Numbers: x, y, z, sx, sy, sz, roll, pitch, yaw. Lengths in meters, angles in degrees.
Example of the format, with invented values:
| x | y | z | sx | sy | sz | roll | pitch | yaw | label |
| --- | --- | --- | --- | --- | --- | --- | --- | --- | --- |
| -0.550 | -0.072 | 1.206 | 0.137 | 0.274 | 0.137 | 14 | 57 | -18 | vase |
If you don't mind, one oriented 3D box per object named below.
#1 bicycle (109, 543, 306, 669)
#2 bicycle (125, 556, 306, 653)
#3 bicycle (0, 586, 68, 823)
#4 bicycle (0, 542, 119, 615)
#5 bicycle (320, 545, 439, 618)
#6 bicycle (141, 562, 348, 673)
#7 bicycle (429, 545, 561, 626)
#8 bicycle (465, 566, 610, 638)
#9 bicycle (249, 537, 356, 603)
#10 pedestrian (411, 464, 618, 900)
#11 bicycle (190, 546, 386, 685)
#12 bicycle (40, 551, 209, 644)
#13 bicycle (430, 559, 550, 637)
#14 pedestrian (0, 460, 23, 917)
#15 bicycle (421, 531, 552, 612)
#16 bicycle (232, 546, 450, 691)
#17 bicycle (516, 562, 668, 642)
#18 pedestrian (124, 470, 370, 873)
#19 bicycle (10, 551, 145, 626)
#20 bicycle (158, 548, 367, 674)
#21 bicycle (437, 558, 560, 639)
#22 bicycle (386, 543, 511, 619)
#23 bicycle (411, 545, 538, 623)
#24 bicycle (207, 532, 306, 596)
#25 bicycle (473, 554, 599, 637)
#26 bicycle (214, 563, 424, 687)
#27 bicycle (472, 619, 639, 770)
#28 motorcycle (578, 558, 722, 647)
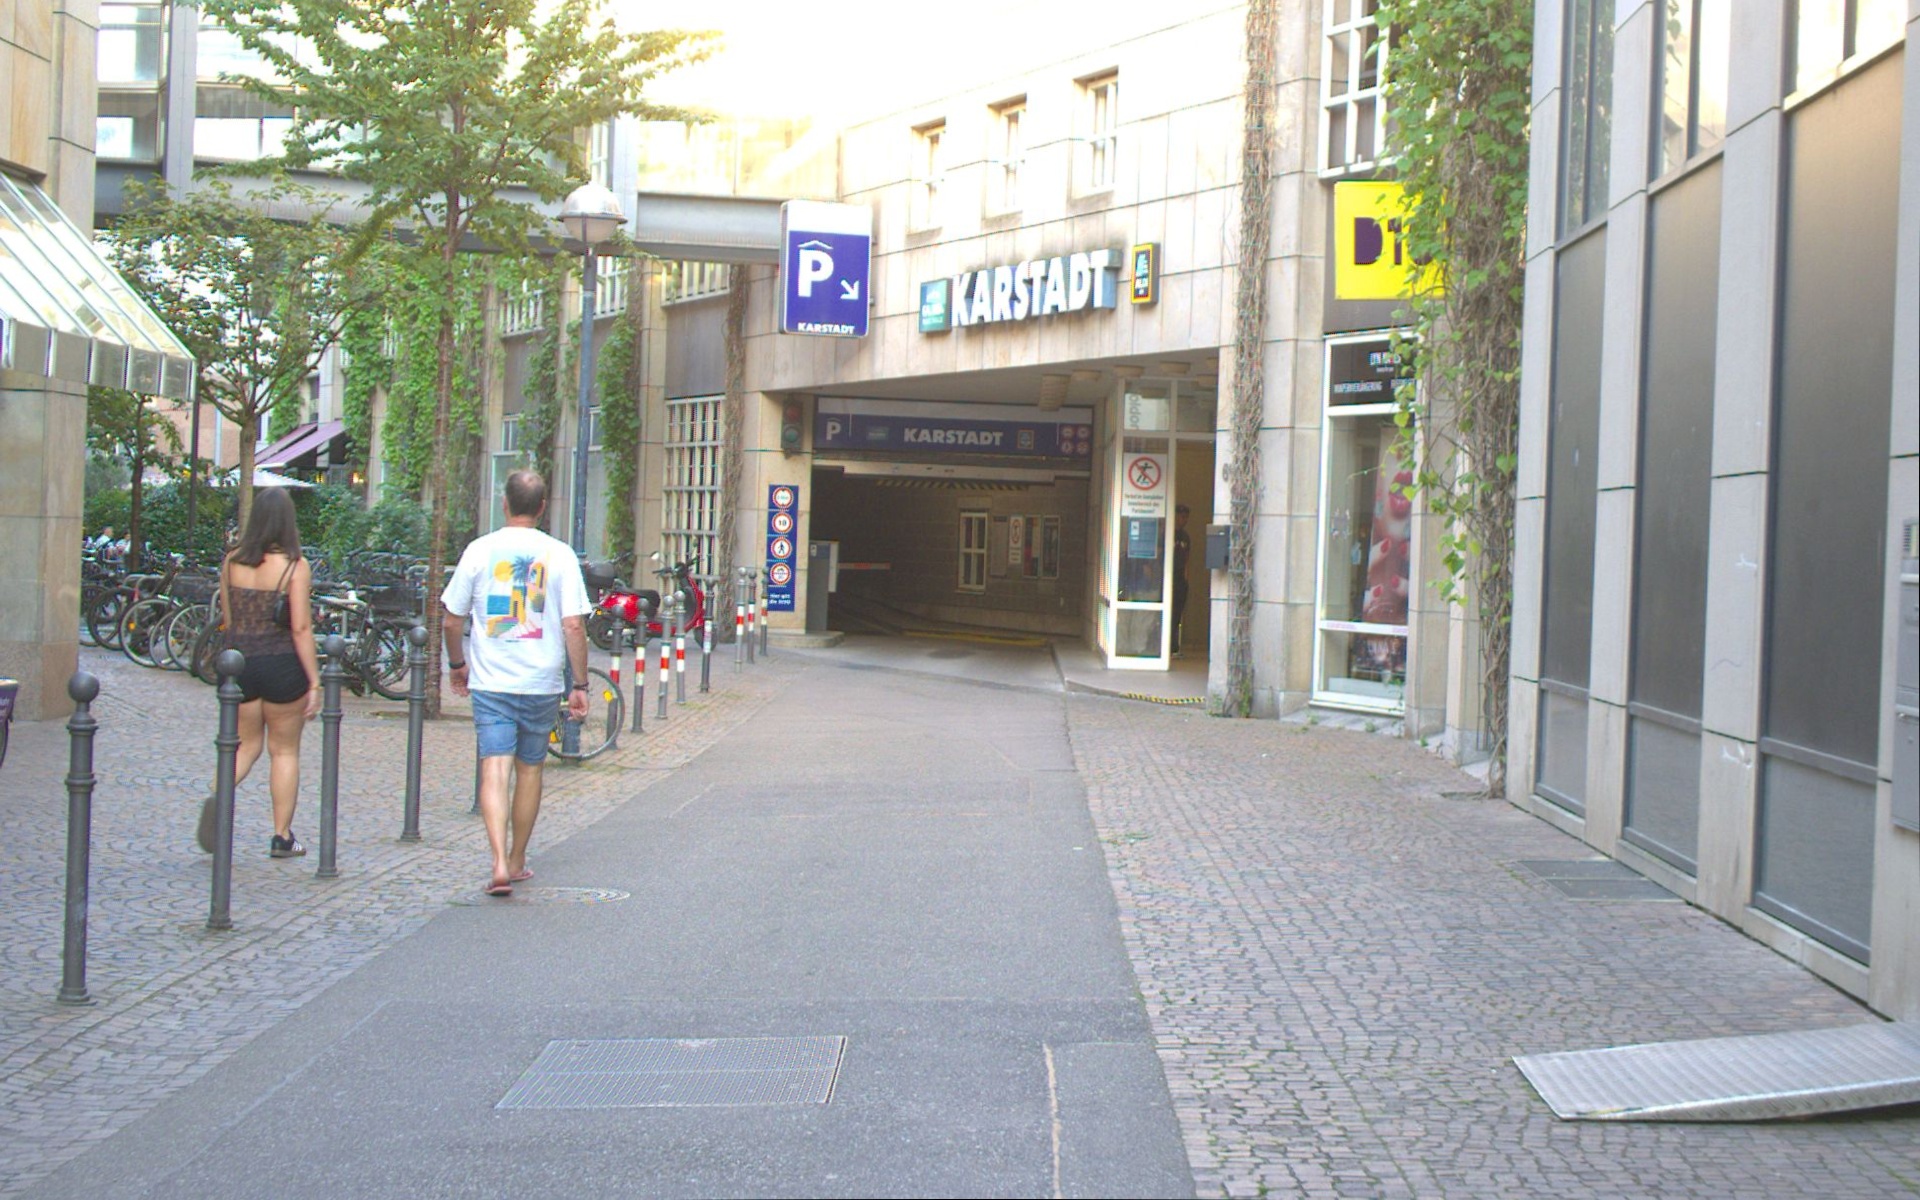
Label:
| x | y | z | sx | sy | sz | roll | pitch | yaw | label |
| --- | --- | --- | --- | --- | --- | --- | --- | --- | --- |
| -7.465 | 0.062 | 34.108 | 1.833 | 1.221 | 0.534 | 1 | 1 | -22 | bicycle |
| -8.205 | 0.052 | 37.903 | 1.876 | 1.039 | 0.534 | 1 | 1 | -22 | bicycle |
| -4.995 | 0.512 | 16.493 | 0.522 | 1.134 | 1.763 | 2 | 1 | 17 | bicycle |
| -12.958 | -0.304 | 49.106 | 1.779 | 1.016 | 0.481 | 1 | 1 | -22 | bicycle |
| -9.206 | -0.292 | 54.498 | 1.773 | 1.110 | 0.543 | 1 | 1 | -20 | bicycle |
| -6.951 | 0.171 | 33.430 | 1.893 | 1.048 | 0.534 | 1 | 1 | -22 | bicycle |
| -6.614 | -0.200 | 48.903 | 1.773 | 1.110 | 0.543 | 1 | 1 | -20 | bicycle |
| -5.453 | 0.026 | 44.394 | 1.773 | 0.901 | 0.464 | 1 | 1 | -20 | bicycle |
| -11.528 | -0.523 | 60.243 | 1.773 | 1.110 | 0.543 | 1 | 1 | -17 | bicycle |
| -1.916 | 0.336 | 14.890 | 0.742 | 1.816 | 0.878 | 1 | 1 | 0 | pedestrian |
| -6.067 | 0.140 | 31.042 | 1.653 | 1.226 | 0.534 | 1 | 1 | -22 | bicycle |
| -9.642 | -0.026 | 39.678 | 1.824 | 1.039 | 0.534 | 1 | 1 | -22 | bicycle |
| -6.523 | -0.028 | 47.731 | 1.539 | 1.045 | 0.575 | 1 | 1 | -20 | bicycle |
| -4.060 | 0.328 | 12.660 | 0.806 | 1.723 | 0.948 | 2 | 1 | 10 | pedestrian |
| -6.891 | -0.409 | 50.030 | 1.773 | 1.110 | 0.543 | 2 | 1 | -20 | bicycle |
| -5.356 | 0.162 | 29.754 | 1.766 | 1.226 | 0.534 | 1 | 1 | -22 | bicycle |
| -4.658 | 0.028 | 43.533 | 1.847 | 0.978 | 0.464 | 1 | 1 | -20 | bicycle |
| -3.288 | 0.311 | 15.916 | 0.785 | 1.789 | 0.972 | 2 | 1 | 9 | pedestrian |
| -12.389 | -0.159 | 48.264 | 1.779 | 1.016 | 0.481 | 1 | 1 | -22 | bicycle |
| -6.673 | 0.108 | 32.895 | 1.872 | 1.173 | 0.534 | 1 | 1 | -22 | bicycle |
| -6.222 | -0.018 | 46.330 | 1.539 | 1.045 | 0.575 | 1 | 1 | -20 | bicycle |
| -7.769 | -0.287 | 52.224 | 1.773 | 1.110 | 0.543 | 1 | 1 | -20 | bicycle |
| -7.229 | -0.240 | 51.186 | 1.773 | 1.110 | 0.543 | 1 | 1 | -20 | bicycle |
| -13.405 | -0.686 | 65.515 | 1.773 | 1.186 | 0.586 | 1 | 1 | -20 | bicycle |
| -5.592 | -0.060 | 45.344 | 1.539 | 1.045 | 0.575 | 1 | 1 | -20 | bicycle |
| -5.949 | 0.237 | 31.934 | 1.836 | 1.118 | 0.534 | 1 | 1 | -22 | bicycle |
| -2.723 | 0.623 | 23.296 | 0.493 | 0.935 | 1.658 | 3 | 1 | 15 | bicycle |
| -3.775 | 0.034 | 41.847 | 1.662 | 1.047 | 0.464 | 1 | 1 | -20 | motorcycle |
